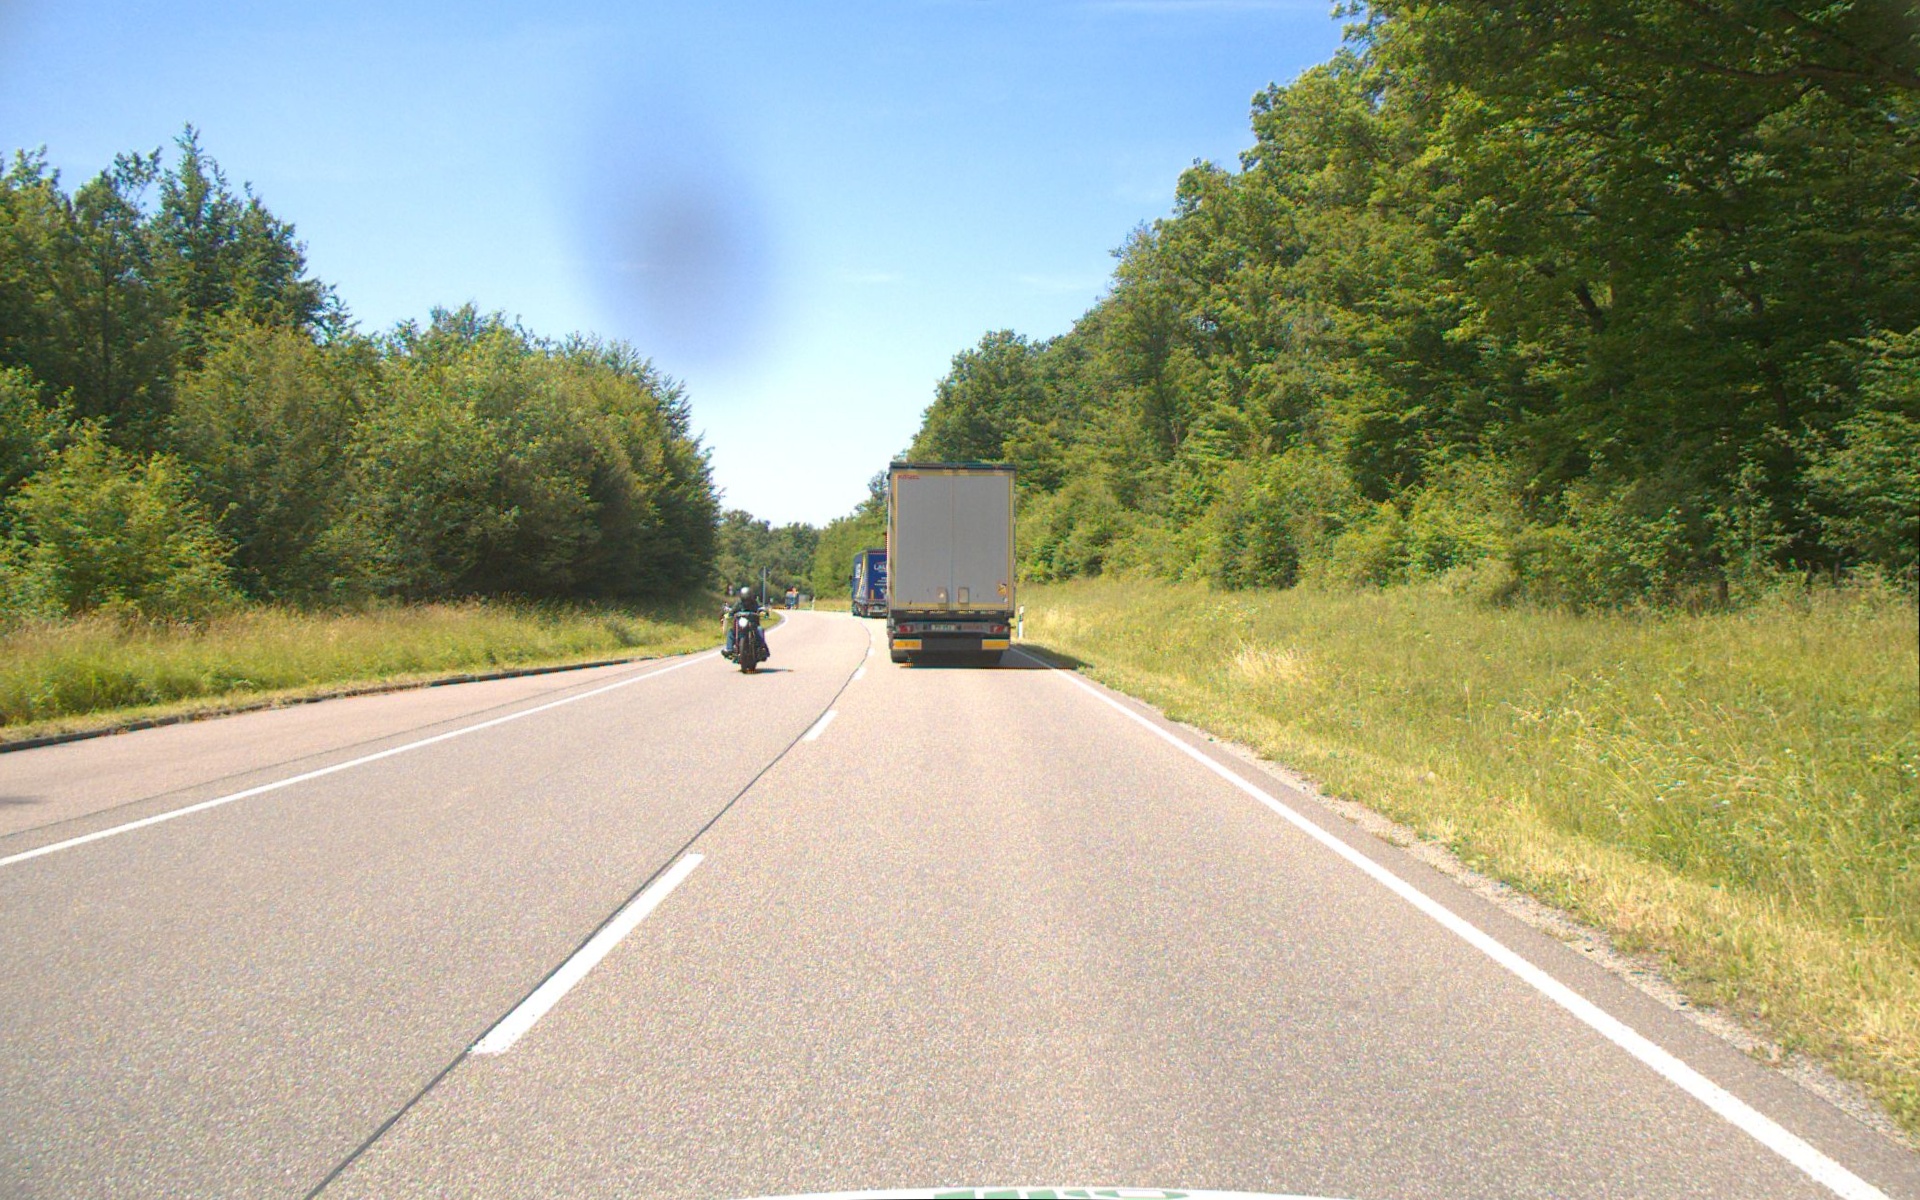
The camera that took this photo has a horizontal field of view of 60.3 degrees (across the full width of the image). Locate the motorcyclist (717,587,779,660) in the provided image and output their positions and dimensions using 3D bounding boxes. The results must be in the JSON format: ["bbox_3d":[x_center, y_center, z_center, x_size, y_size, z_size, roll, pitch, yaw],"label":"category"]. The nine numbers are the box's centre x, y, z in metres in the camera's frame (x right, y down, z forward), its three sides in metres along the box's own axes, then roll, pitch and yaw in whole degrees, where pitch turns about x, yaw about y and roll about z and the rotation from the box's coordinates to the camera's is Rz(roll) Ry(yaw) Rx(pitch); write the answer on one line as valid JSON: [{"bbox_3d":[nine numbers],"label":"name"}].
[{"bbox_3d":[-4.013,0.439,31.311,0.988,1.350,0.966,1,0,3],"label":"motorcyclist"}]

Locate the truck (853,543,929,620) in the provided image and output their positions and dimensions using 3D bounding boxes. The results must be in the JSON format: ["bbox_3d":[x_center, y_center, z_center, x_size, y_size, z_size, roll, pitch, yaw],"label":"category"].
[{"bbox_3d":[-4.513,-1.119,104.374,3.720,4.449,14.900,2,0,-6],"label":"truck"}]

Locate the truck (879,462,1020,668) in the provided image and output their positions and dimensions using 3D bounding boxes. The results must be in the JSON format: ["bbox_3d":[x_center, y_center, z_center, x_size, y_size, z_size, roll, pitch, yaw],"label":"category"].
[{"bbox_3d":[-0.345,-0.702,38.541,2.705,4.016,12.194,1,0,-1],"label":"truck"}]

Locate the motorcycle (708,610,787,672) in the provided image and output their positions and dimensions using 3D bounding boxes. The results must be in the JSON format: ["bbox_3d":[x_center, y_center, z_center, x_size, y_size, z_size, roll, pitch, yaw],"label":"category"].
[{"bbox_3d":[-4.006,0.756,31.411,0.993,1.081,2.773,1,0,3],"label":"motorcycle"}]
